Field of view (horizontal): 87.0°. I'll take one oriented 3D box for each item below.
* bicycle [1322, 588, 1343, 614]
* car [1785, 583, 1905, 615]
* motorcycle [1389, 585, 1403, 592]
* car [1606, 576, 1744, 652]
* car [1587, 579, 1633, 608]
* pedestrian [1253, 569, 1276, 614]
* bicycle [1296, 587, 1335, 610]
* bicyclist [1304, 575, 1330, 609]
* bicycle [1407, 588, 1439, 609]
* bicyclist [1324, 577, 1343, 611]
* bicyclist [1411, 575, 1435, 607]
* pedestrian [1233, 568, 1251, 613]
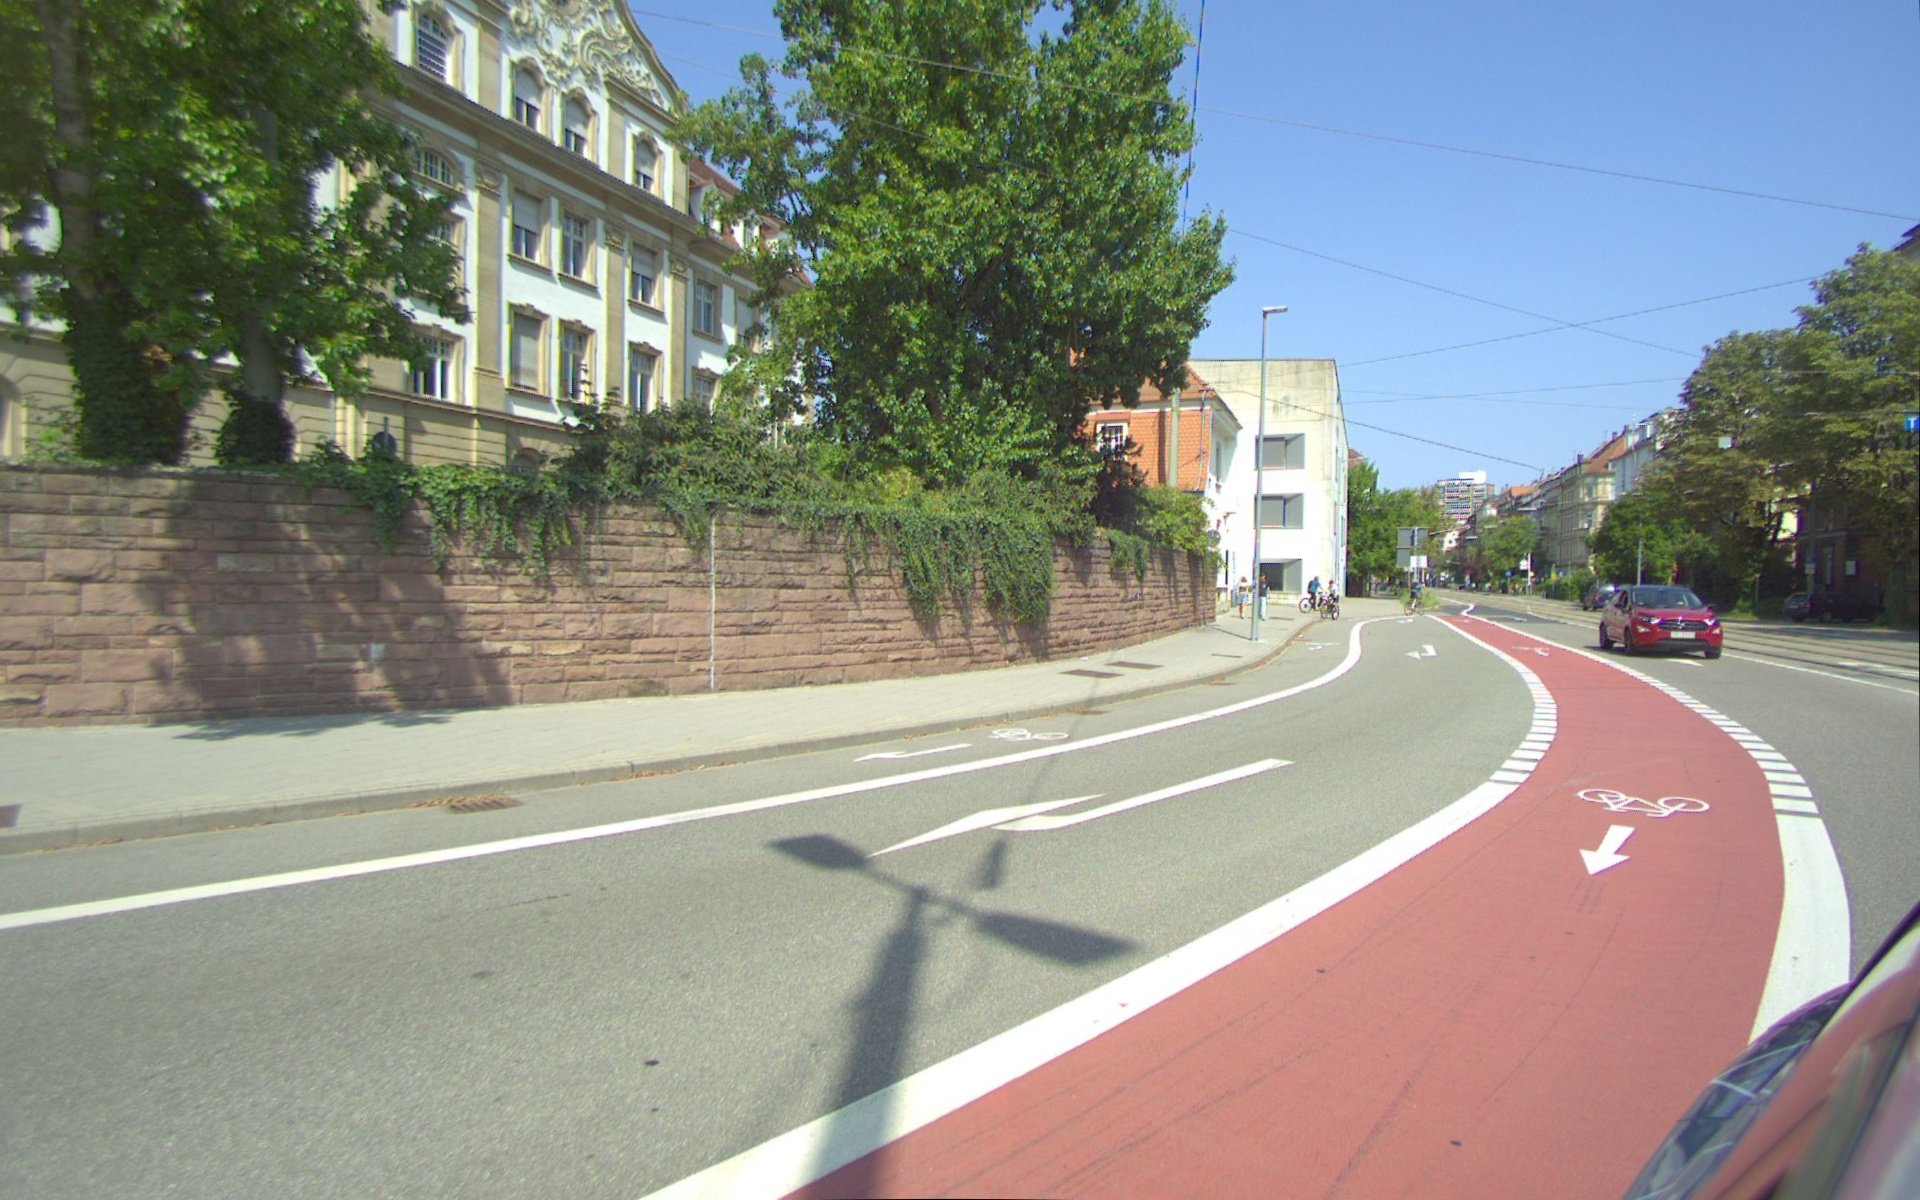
[{"bbox_3d":[16.067,0.029,43.621,0.733,1.062,2.216,1,1,22],"label":"bicycle"},{"bbox_3d":[42.812,-0.064,49.004,4.342,1.480,1.823,0,1,-3],"label":"car"},{"bbox_3d":[69.419,-1.843,161.301,1.979,1.027,0.790,5,2,23],"label":"motorcycle"},{"bbox_3d":[16.345,0.262,23.362,1.797,1.571,3.989,1,1,24],"label":"car"},{"bbox_3d":[38.772,-0.425,60.471,1.677,1.675,3.554,1,1,23],"label":"car"},{"bbox_3d":[11.570,-0.336,38.471,0.722,1.686,0.872,1,0,25],"label":"pedestrian"},{"bbox_3d":[17.153,-0.085,48.788,1.675,1.012,0.617,2,1,-16],"label":"bicycle"},{"bbox_3d":[17.186,-0.377,48.779,0.884,1.558,0.630,3,2,-15],"label":"bicyclist"},{"bbox_3d":[23.935,-0.075,52.297,1.676,1.012,0.617,1,1,-29],"label":"bicycle"},{"bbox_3d":[16.103,-0.277,43.639,0.739,1.429,0.954,1,1,23],"label":"bicyclist"},{"bbox_3d":[23.892,-0.468,52.257,0.972,1.618,0.629,1,1,-27],"label":"bicyclist"},{"bbox_3d":[10.801,-0.359,38.756,0.613,1.687,0.483,1,0,22],"label":"pedestrian"}]
